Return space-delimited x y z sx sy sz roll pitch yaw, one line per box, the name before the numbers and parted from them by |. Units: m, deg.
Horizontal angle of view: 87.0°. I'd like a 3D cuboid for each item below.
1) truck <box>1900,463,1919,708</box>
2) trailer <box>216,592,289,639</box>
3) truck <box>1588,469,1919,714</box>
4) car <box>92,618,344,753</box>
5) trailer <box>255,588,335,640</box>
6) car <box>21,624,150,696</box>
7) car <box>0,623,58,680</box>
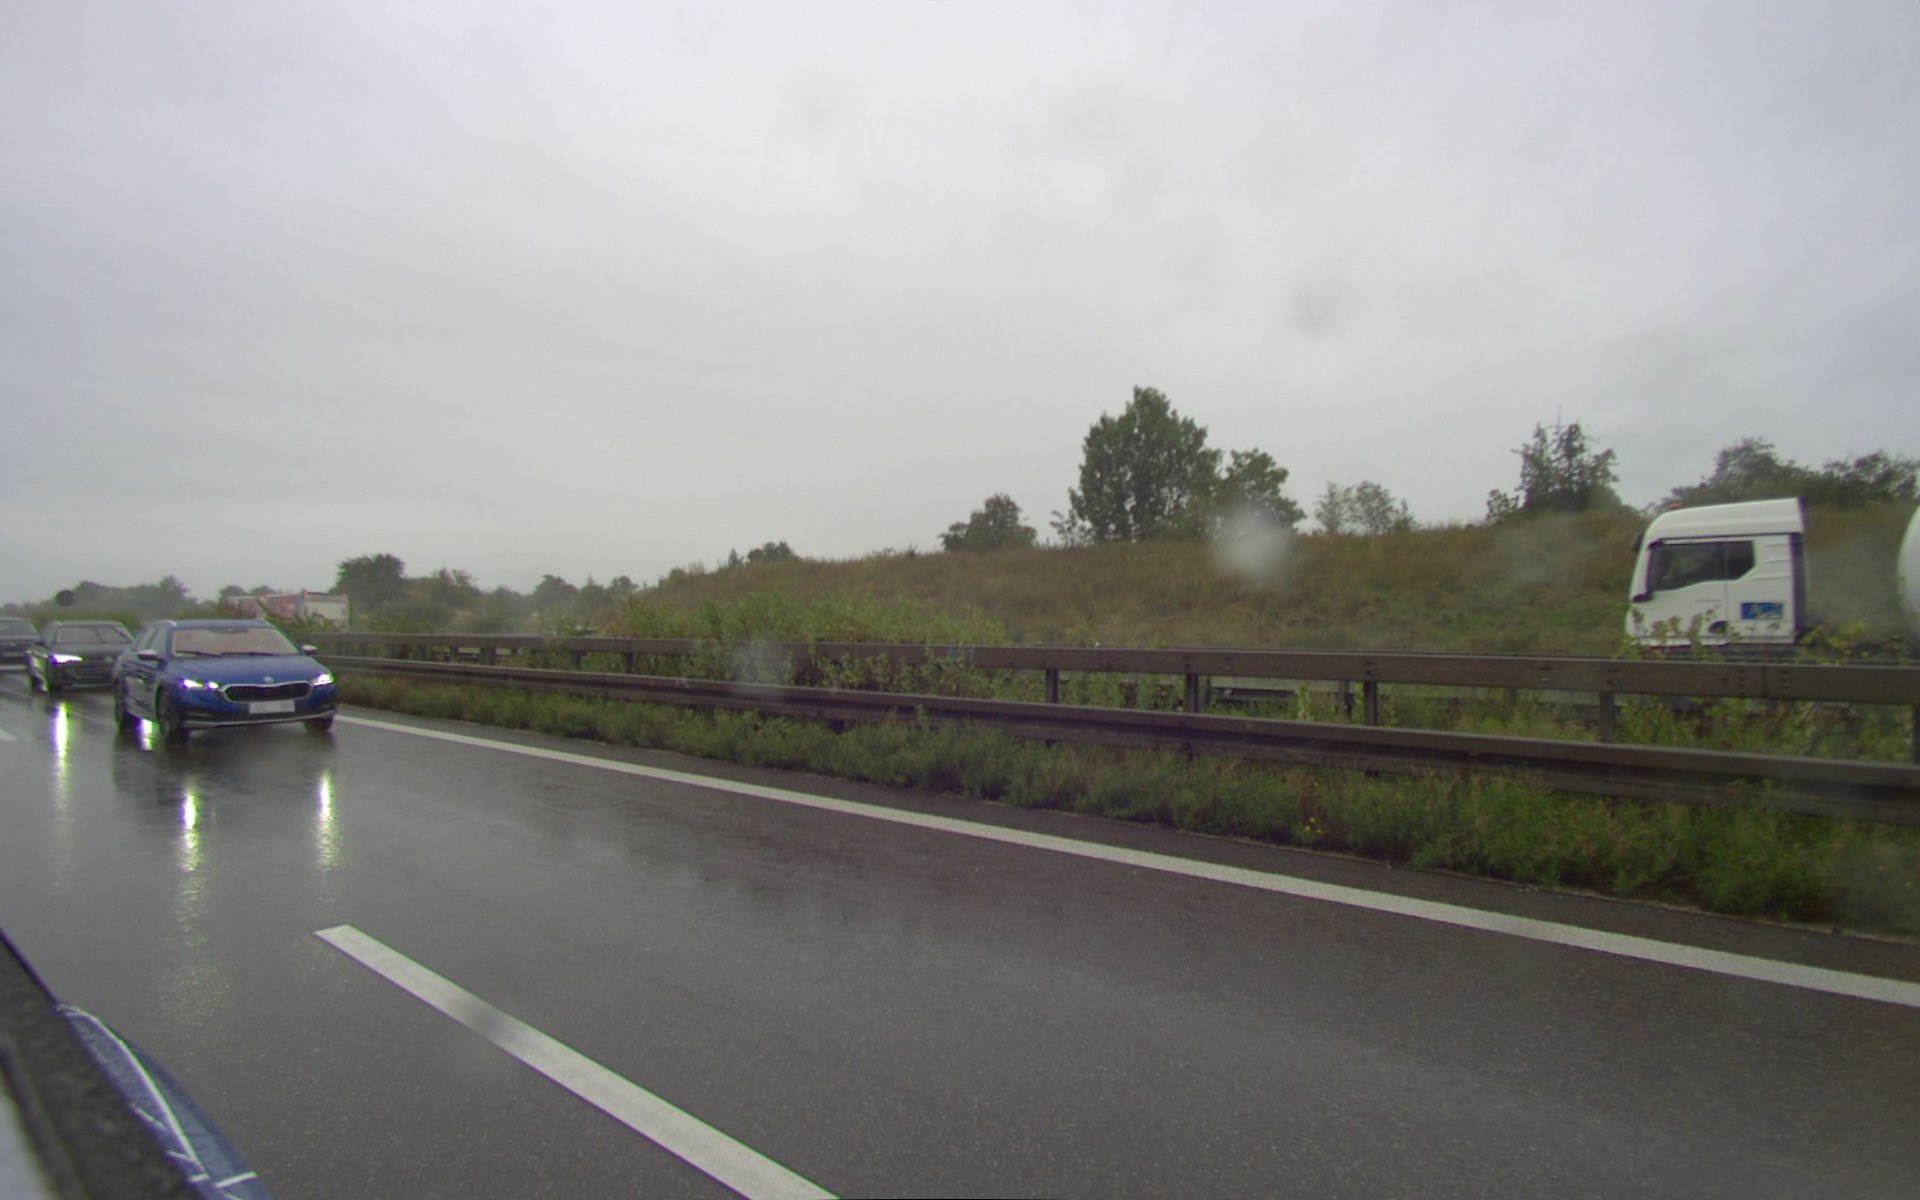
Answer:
truck | 17.242 -0.129 11.613 9.344 3.323 2.528 0 -2 41
trailer | -49.414 1.108 70.541 9.550 3.105 1.973 -1 -1 41
truck | 12.806 -0.069 15.455 5.195 3.305 2.515 0 -2 40
car | -9.967 1.017 13.459 4.509 1.487 1.767 -2 -1 41
trailer | -42.484 0.934 64.489 8.867 3.105 1.973 -1 -1 41
car | -19.665 1.279 22.695 4.368 1.447 1.592 -2 -1 41
car | -29.641 1.572 31.447 4.266 1.644 1.864 -2 -1 41
